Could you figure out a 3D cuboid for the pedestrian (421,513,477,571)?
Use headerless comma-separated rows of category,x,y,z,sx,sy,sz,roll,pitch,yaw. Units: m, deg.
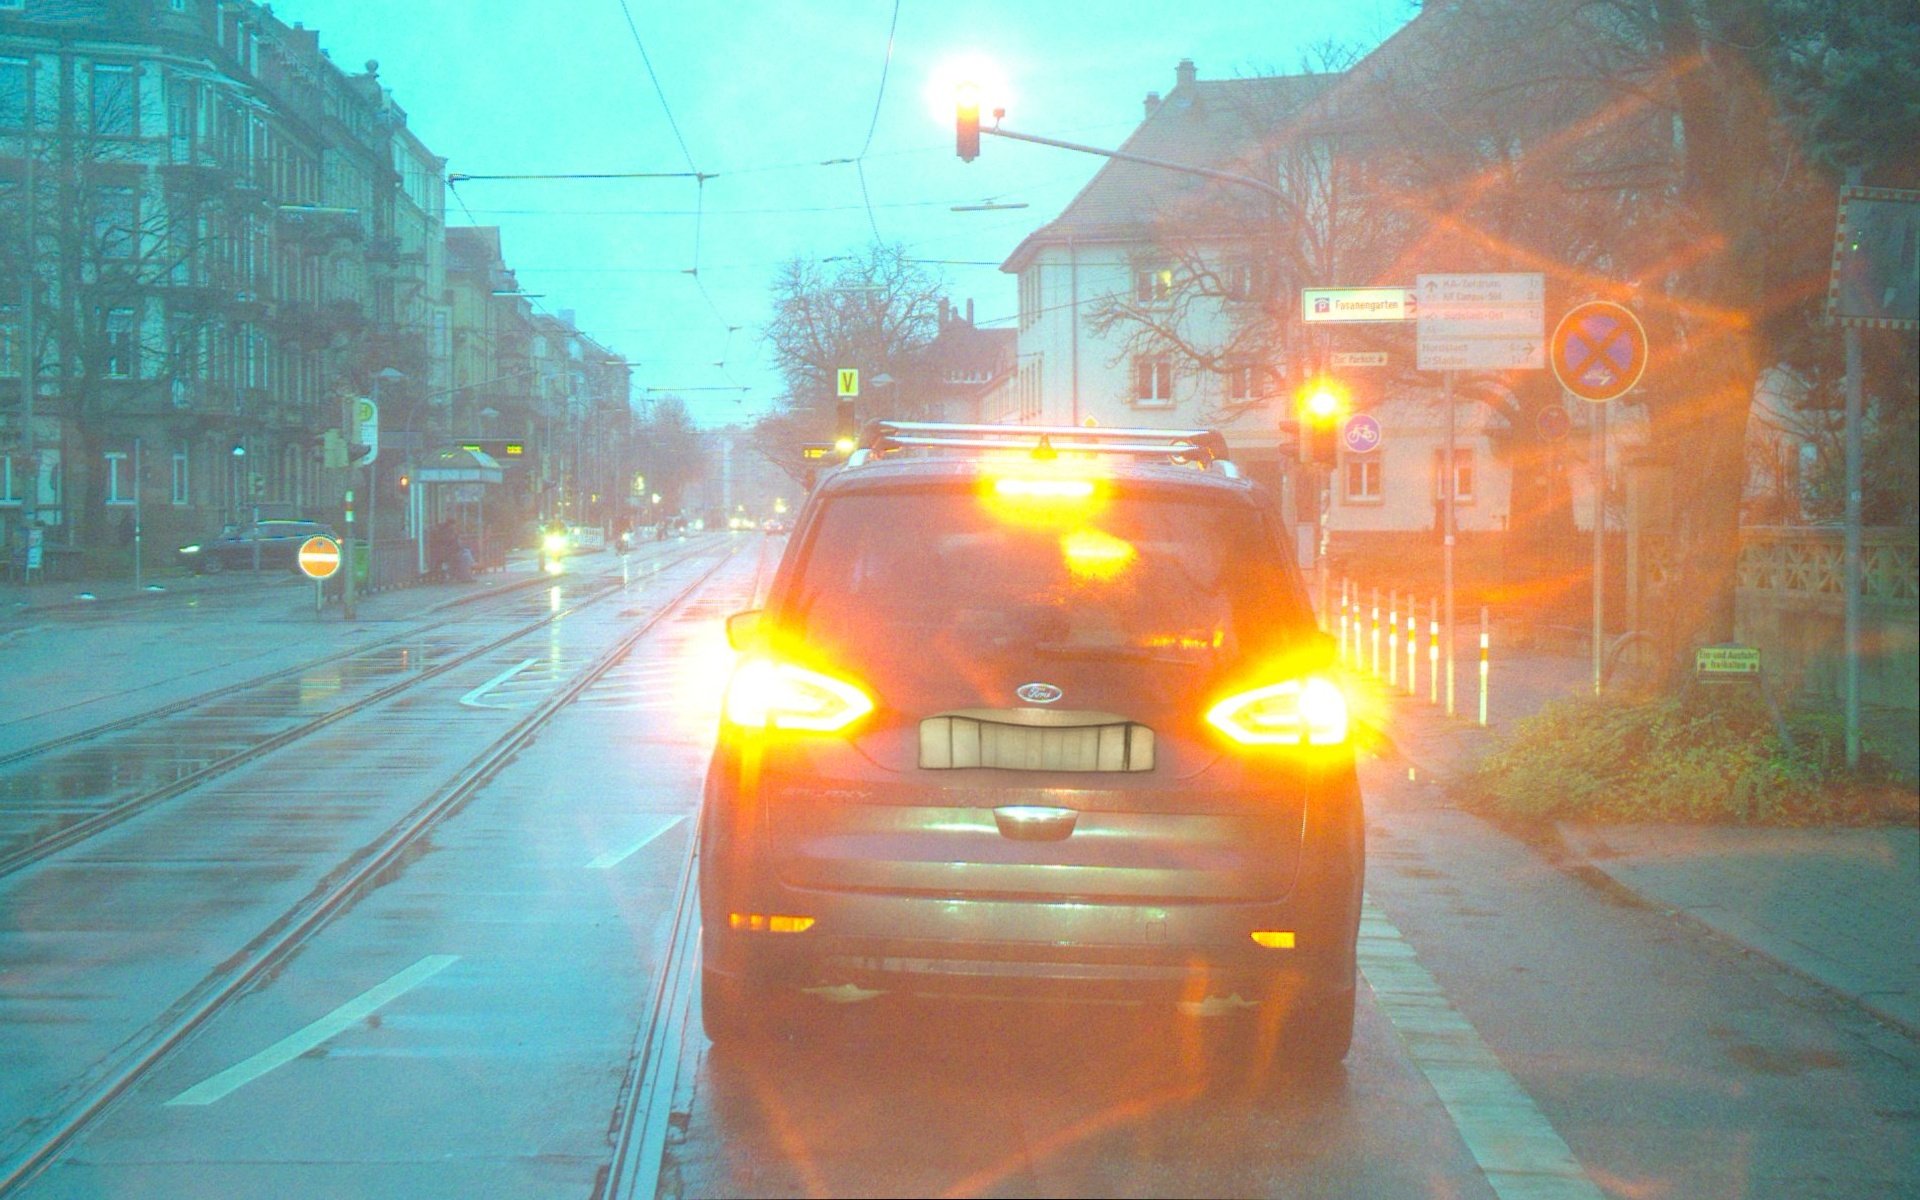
pedestrian,-10.707,-1.215,72.108,1.047,1.196,0.885,1,1,-1

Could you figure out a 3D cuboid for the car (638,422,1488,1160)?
car,0.235,0.431,11.074,2.103,1.810,4.661,2,1,-1
